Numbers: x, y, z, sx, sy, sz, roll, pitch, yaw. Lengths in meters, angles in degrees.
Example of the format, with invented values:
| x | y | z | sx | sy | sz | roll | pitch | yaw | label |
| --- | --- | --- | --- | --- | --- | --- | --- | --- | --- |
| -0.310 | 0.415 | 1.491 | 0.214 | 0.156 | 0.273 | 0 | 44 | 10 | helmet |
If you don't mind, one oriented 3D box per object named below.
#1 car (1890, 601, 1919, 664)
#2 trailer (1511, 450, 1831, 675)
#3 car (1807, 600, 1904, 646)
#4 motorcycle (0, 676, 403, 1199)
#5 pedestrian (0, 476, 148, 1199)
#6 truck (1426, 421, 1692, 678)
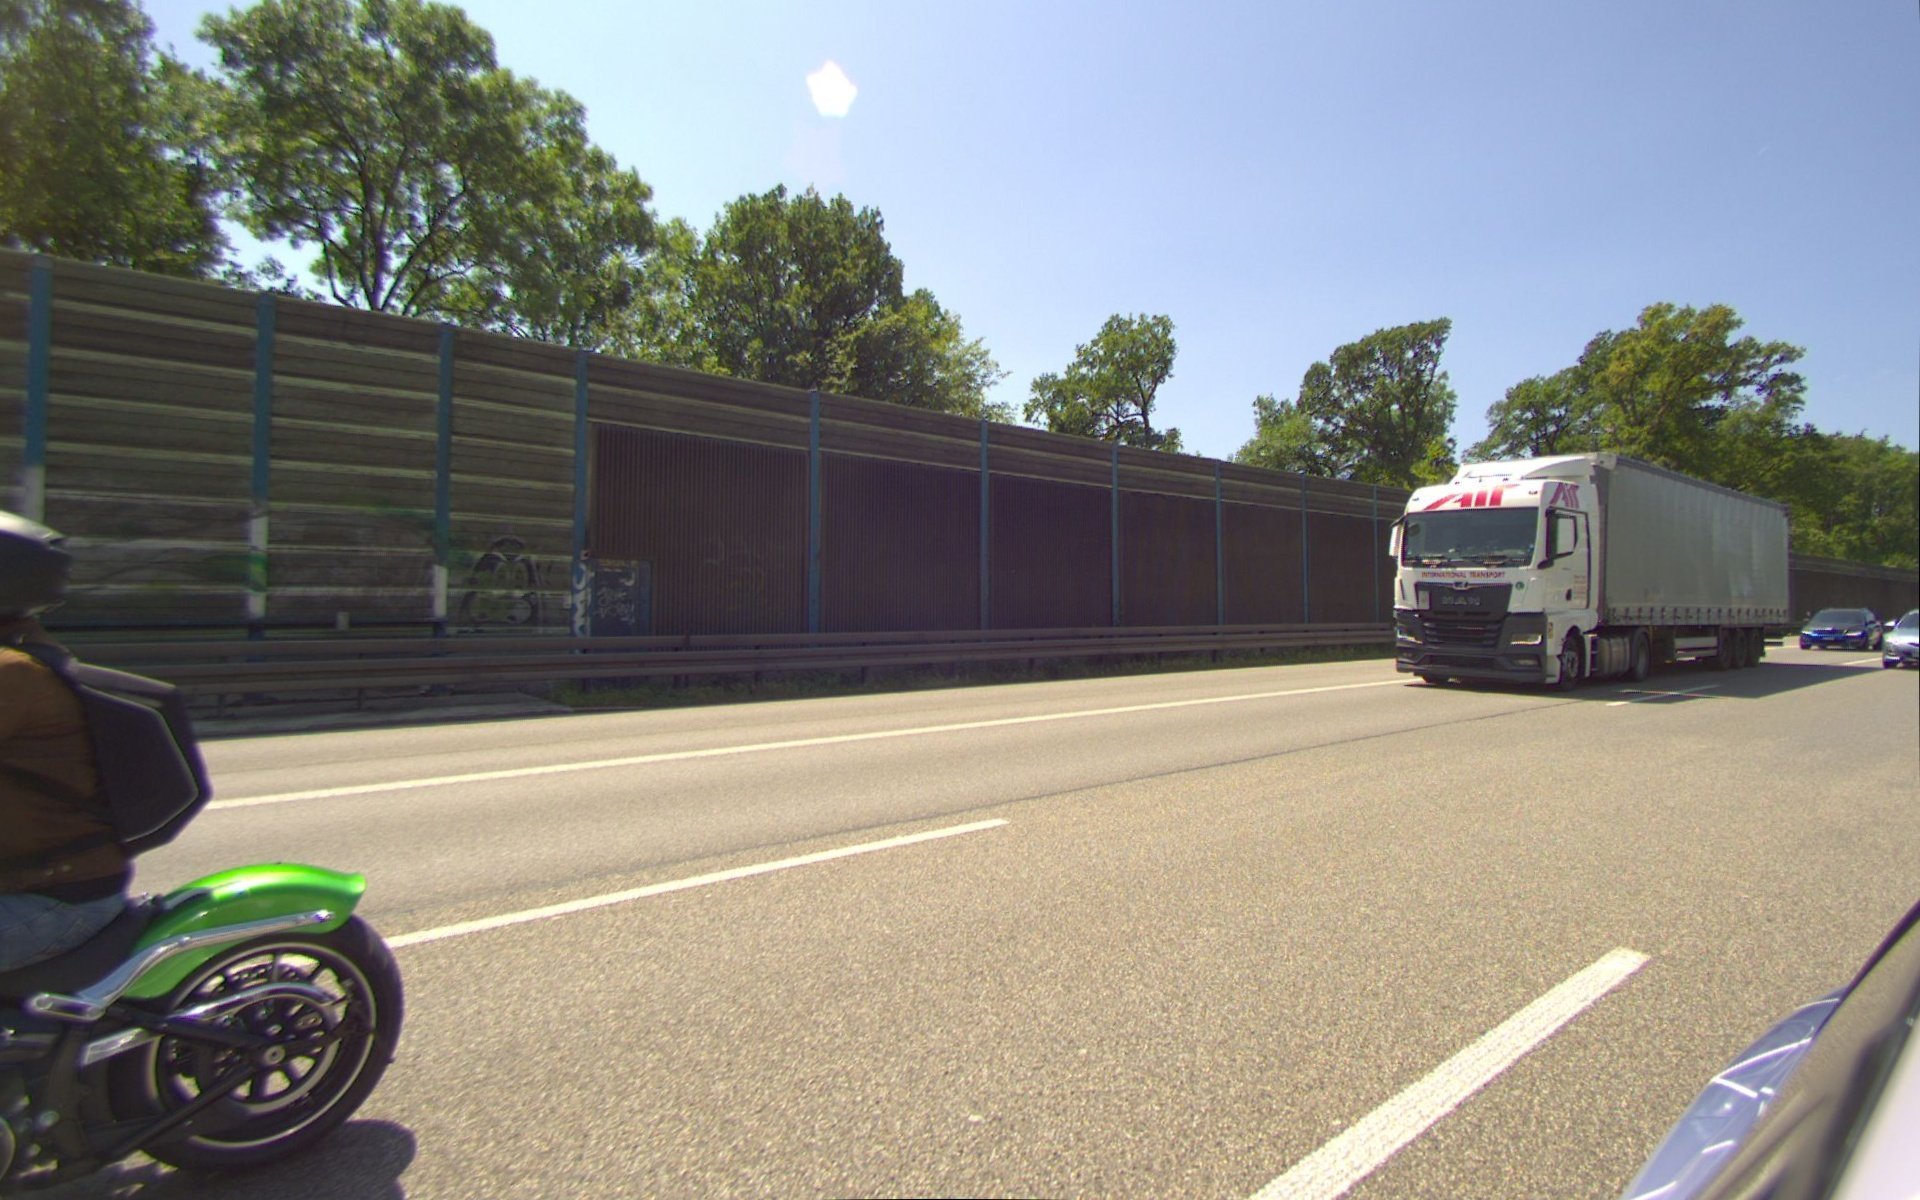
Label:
| x | y | z | sx | sy | sz | roll | pitch | yaw | label |
| --- | --- | --- | --- | --- | --- | --- | --- | --- | --- |
| 24.127 | 0.768 | 24.420 | 4.100 | 1.452 | 1.860 | 1 | 0 | -38 | car |
| 17.282 | -0.728 | 23.872 | 13.345 | 4.142 | 2.604 | 0 | 0 | -39 | trailer |
| 31.379 | 0.761 | 35.435 | 4.100 | 1.512 | 1.860 | 1 | 0 | -38 | car |
| -2.429 | 0.817 | 1.965 | 2.235 | 1.197 | 0.861 | 1 | -1 | -39 | motorcycle |
| -2.175 | 0.509 | 2.189 | 0.627 | 1.497 | 0.853 | 1 | -1 | -39 | pedestrian |
| 11.409 | -0.838 | 19.106 | 5.452 | 4.142 | 2.604 | 0 | 0 | -39 | truck |
